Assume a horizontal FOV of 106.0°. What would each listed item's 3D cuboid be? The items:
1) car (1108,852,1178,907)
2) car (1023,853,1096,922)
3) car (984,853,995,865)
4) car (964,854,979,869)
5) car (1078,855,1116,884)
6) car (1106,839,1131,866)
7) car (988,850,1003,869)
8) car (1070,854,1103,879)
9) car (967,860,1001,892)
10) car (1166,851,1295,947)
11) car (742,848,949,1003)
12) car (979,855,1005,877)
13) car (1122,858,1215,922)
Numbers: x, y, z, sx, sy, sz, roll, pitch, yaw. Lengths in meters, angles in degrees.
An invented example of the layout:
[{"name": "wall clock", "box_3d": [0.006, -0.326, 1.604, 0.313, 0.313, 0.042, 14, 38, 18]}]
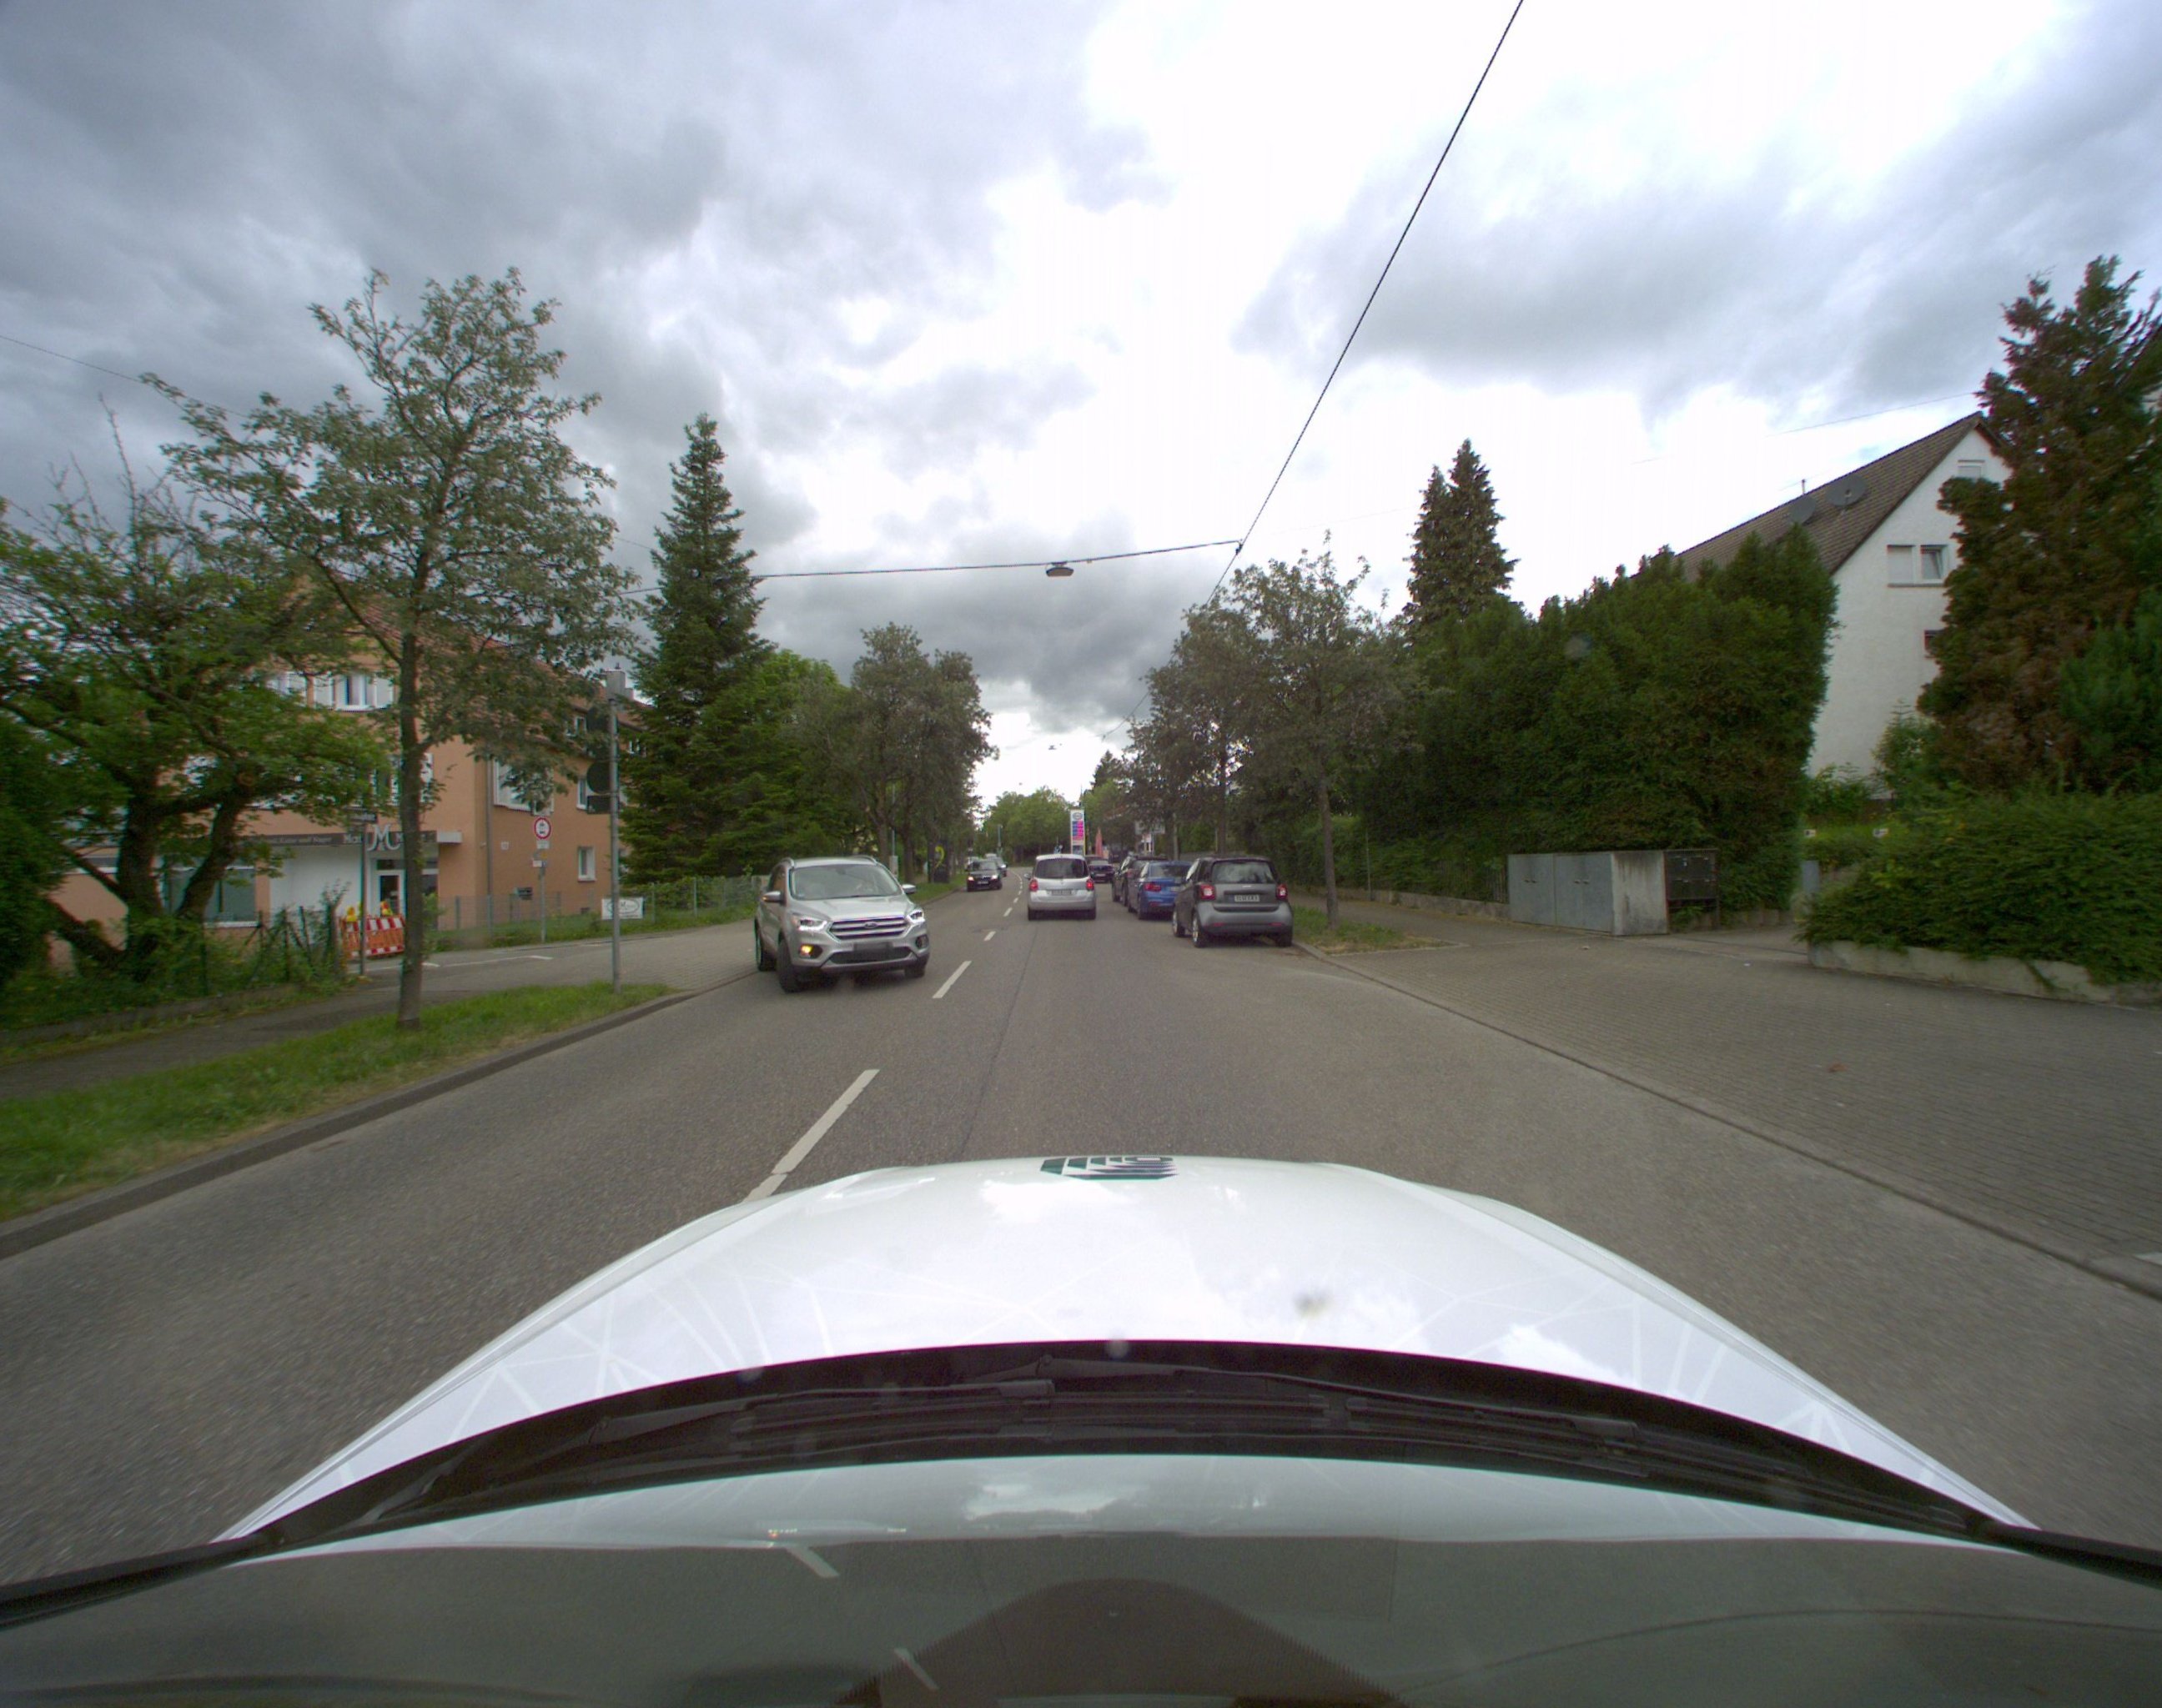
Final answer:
[{"name": "car", "box_3d": [1.899, 0.772, 26.168, 1.691, 1.570, 3.951, -2, 0, -3]}, {"name": "car", "box_3d": [-0.548, 0.774, 20.608, 1.675, 1.560, 3.509, -1, 0, -2]}, {"name": "car", "box_3d": [-16.056, 0.870, 142.821, 1.736, 2.013, 3.996, -1, 0, -3]}, {"name": "car", "box_3d": [-15.458, 1.009, 115.244, 1.931, 2.013, 3.993, -1, 0, -5]}, {"name": "car", "box_3d": [0.847, 0.842, 46.421, 1.693, 1.506, 3.965, -1, 0, -5]}, {"name": "car", "box_3d": [4.194, -0.140, 91.797, 2.276, 2.911, 5.273, 0, 0, -3]}, {"name": "car", "box_3d": [-11.640, 0.731, 111.397, 1.931, 2.408, 3.993, -1, 0, -5]}, {"name": "car", "box_3d": [0.336, 0.746, 51.739, 1.693, 1.506, 3.637, -1, 0, -5]}, {"name": "car", "box_3d": [-4.827, 1.063, 40.598, 1.543, 1.470, 3.733, -3, 0, -6]}, {"name": "car", "box_3d": [2.655, 0.747, 15.284, 1.690, 1.557, 3.954, 0, 0, 0]}, {"name": "car", "box_3d": [-3.520, 0.844, 11.622, 1.753, 1.705, 4.059, -4, 1, -31]}, {"name": "car", "box_3d": [-7.069, 0.914, 64.680, 1.790, 1.555, 3.666, -4, 0, -4]}, {"name": "car", "box_3d": [2.102, 0.831, 20.707, 1.693, 1.433, 4.335, 0, 0, -3]}]
